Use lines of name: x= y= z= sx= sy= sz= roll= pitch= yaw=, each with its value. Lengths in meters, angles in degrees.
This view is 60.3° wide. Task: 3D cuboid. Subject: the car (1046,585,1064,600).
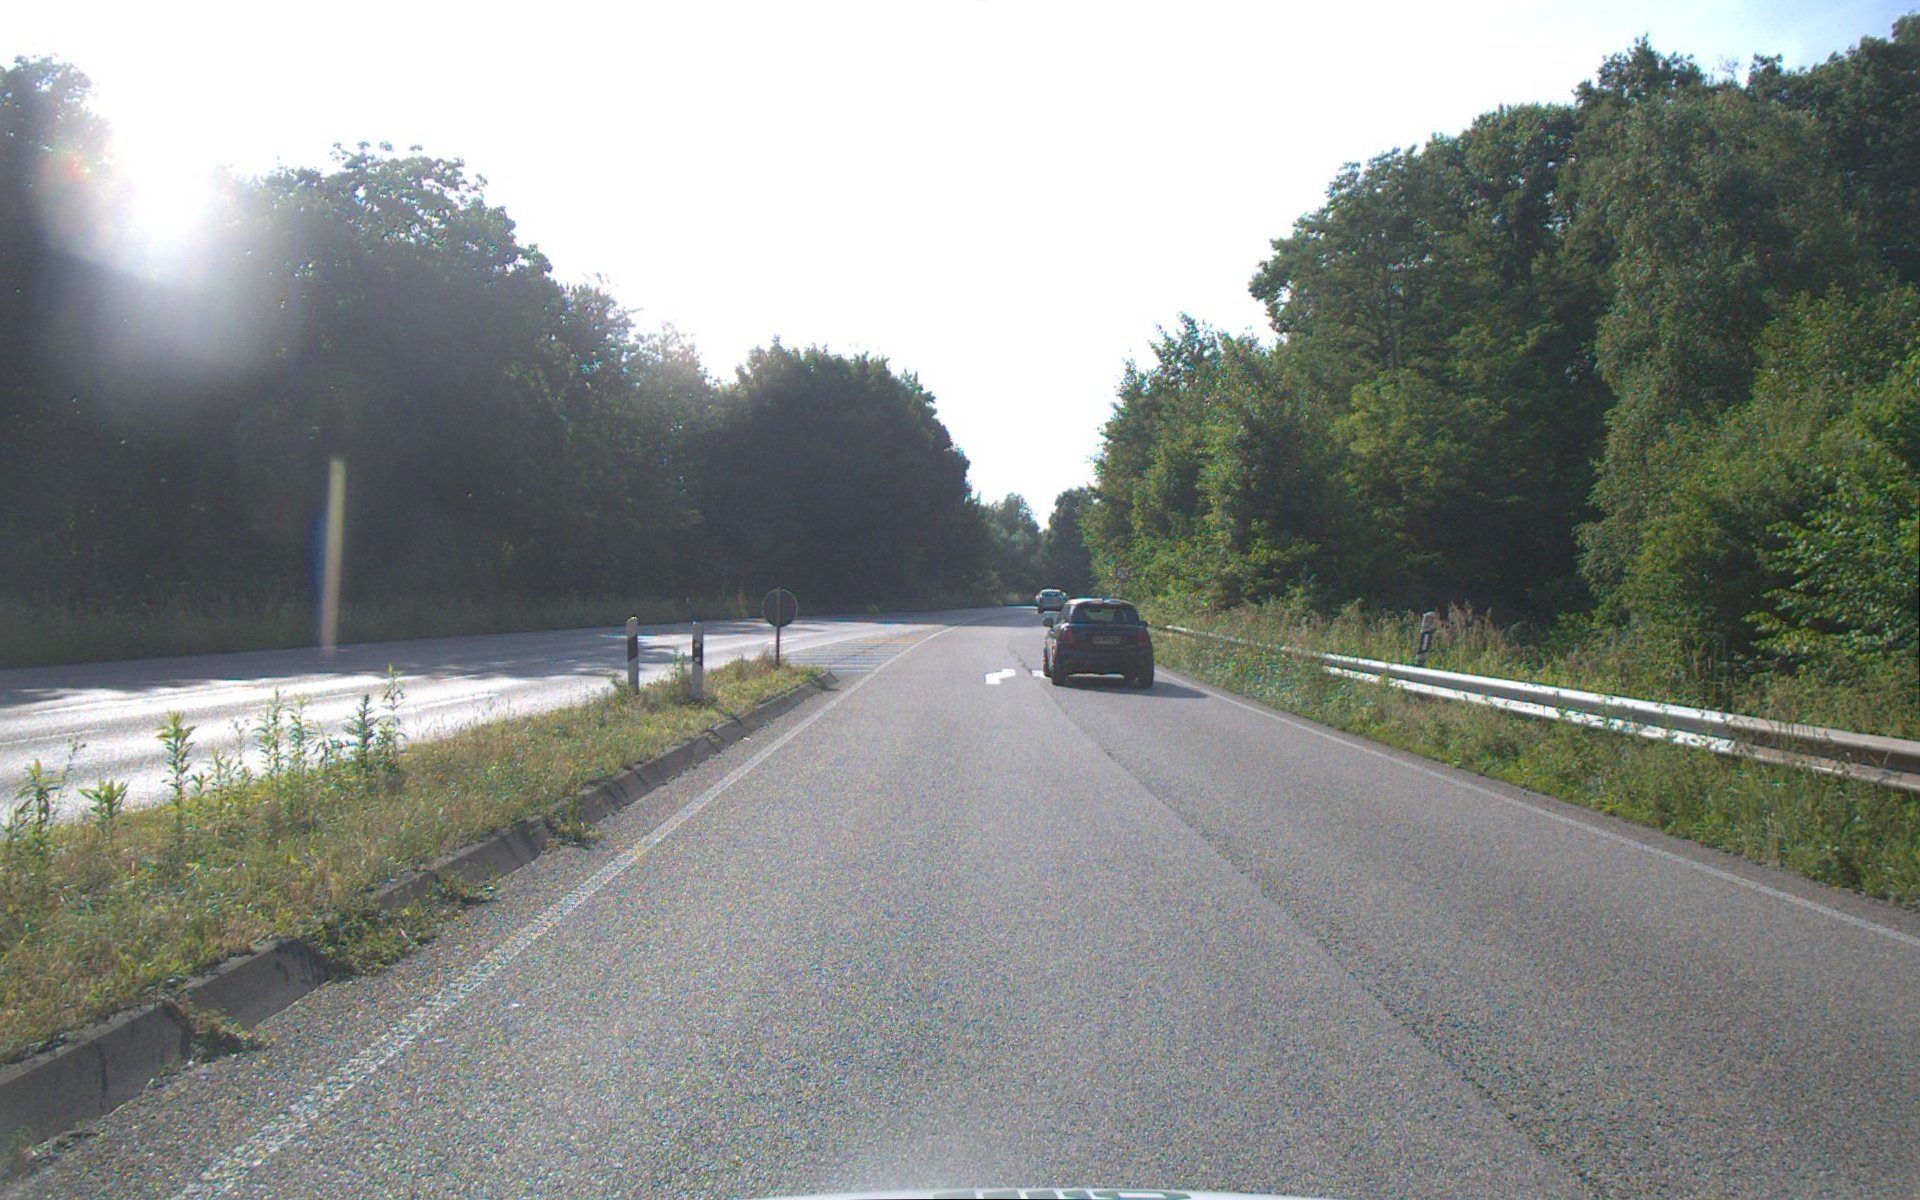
car: x=9.898 y=-0.779 z=172.046 sx=1.725 sy=1.404 sz=3.972 roll=1 pitch=-1 yaw=1

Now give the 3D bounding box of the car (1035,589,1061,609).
car: x=6.302 y=-0.068 z=118.182 sx=1.725 sy=1.404 sz=3.972 roll=1 pitch=-1 yaw=1

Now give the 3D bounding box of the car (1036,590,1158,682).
car: x=2.350 y=0.618 z=29.175 sx=1.782 sy=1.493 sz=3.872 roll=1 pitch=-1 yaw=0
